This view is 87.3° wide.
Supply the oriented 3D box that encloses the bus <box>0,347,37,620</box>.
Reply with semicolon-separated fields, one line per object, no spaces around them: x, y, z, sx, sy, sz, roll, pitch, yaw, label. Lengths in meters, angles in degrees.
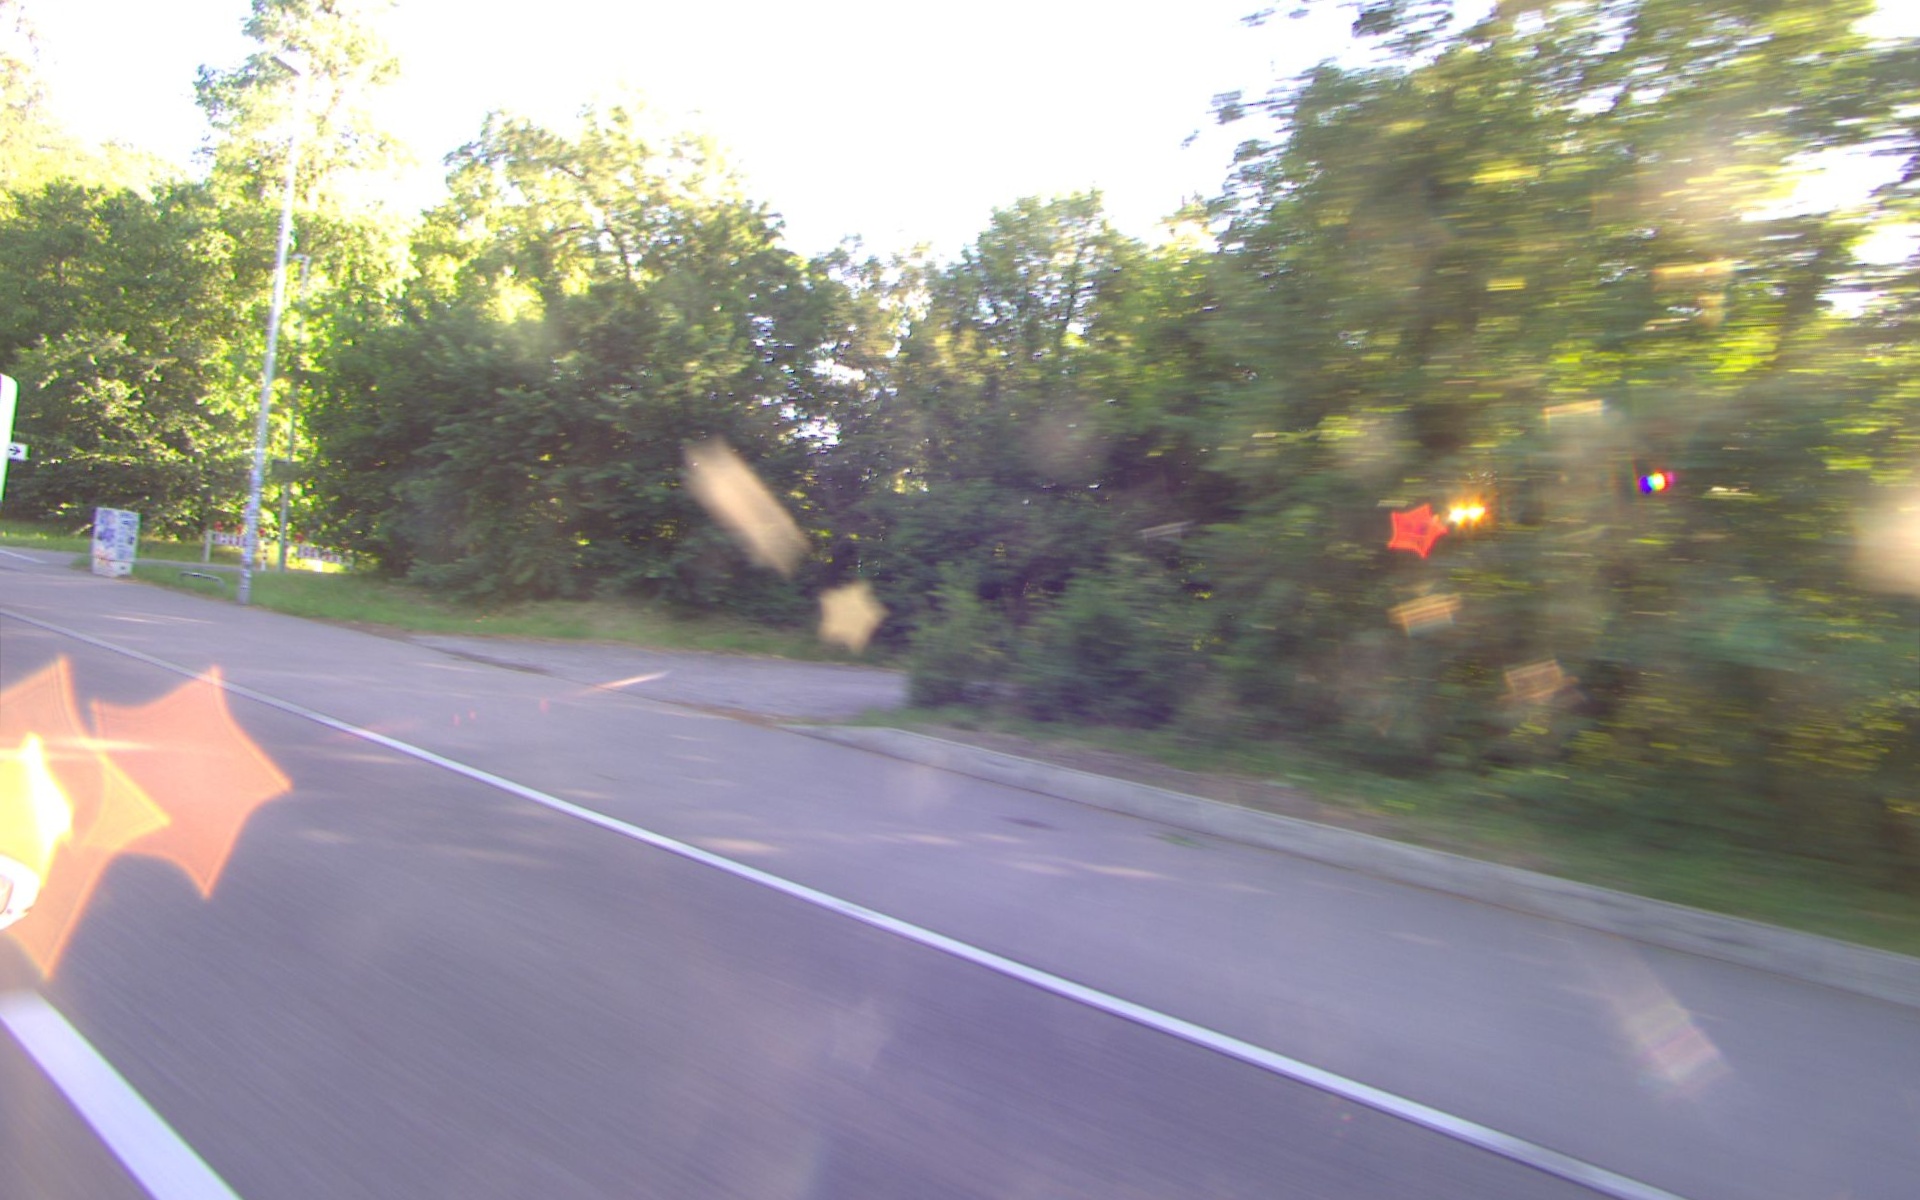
-16.581;-2.017;13.518;11.839;3.078;2.695;7;-1;31;bus
